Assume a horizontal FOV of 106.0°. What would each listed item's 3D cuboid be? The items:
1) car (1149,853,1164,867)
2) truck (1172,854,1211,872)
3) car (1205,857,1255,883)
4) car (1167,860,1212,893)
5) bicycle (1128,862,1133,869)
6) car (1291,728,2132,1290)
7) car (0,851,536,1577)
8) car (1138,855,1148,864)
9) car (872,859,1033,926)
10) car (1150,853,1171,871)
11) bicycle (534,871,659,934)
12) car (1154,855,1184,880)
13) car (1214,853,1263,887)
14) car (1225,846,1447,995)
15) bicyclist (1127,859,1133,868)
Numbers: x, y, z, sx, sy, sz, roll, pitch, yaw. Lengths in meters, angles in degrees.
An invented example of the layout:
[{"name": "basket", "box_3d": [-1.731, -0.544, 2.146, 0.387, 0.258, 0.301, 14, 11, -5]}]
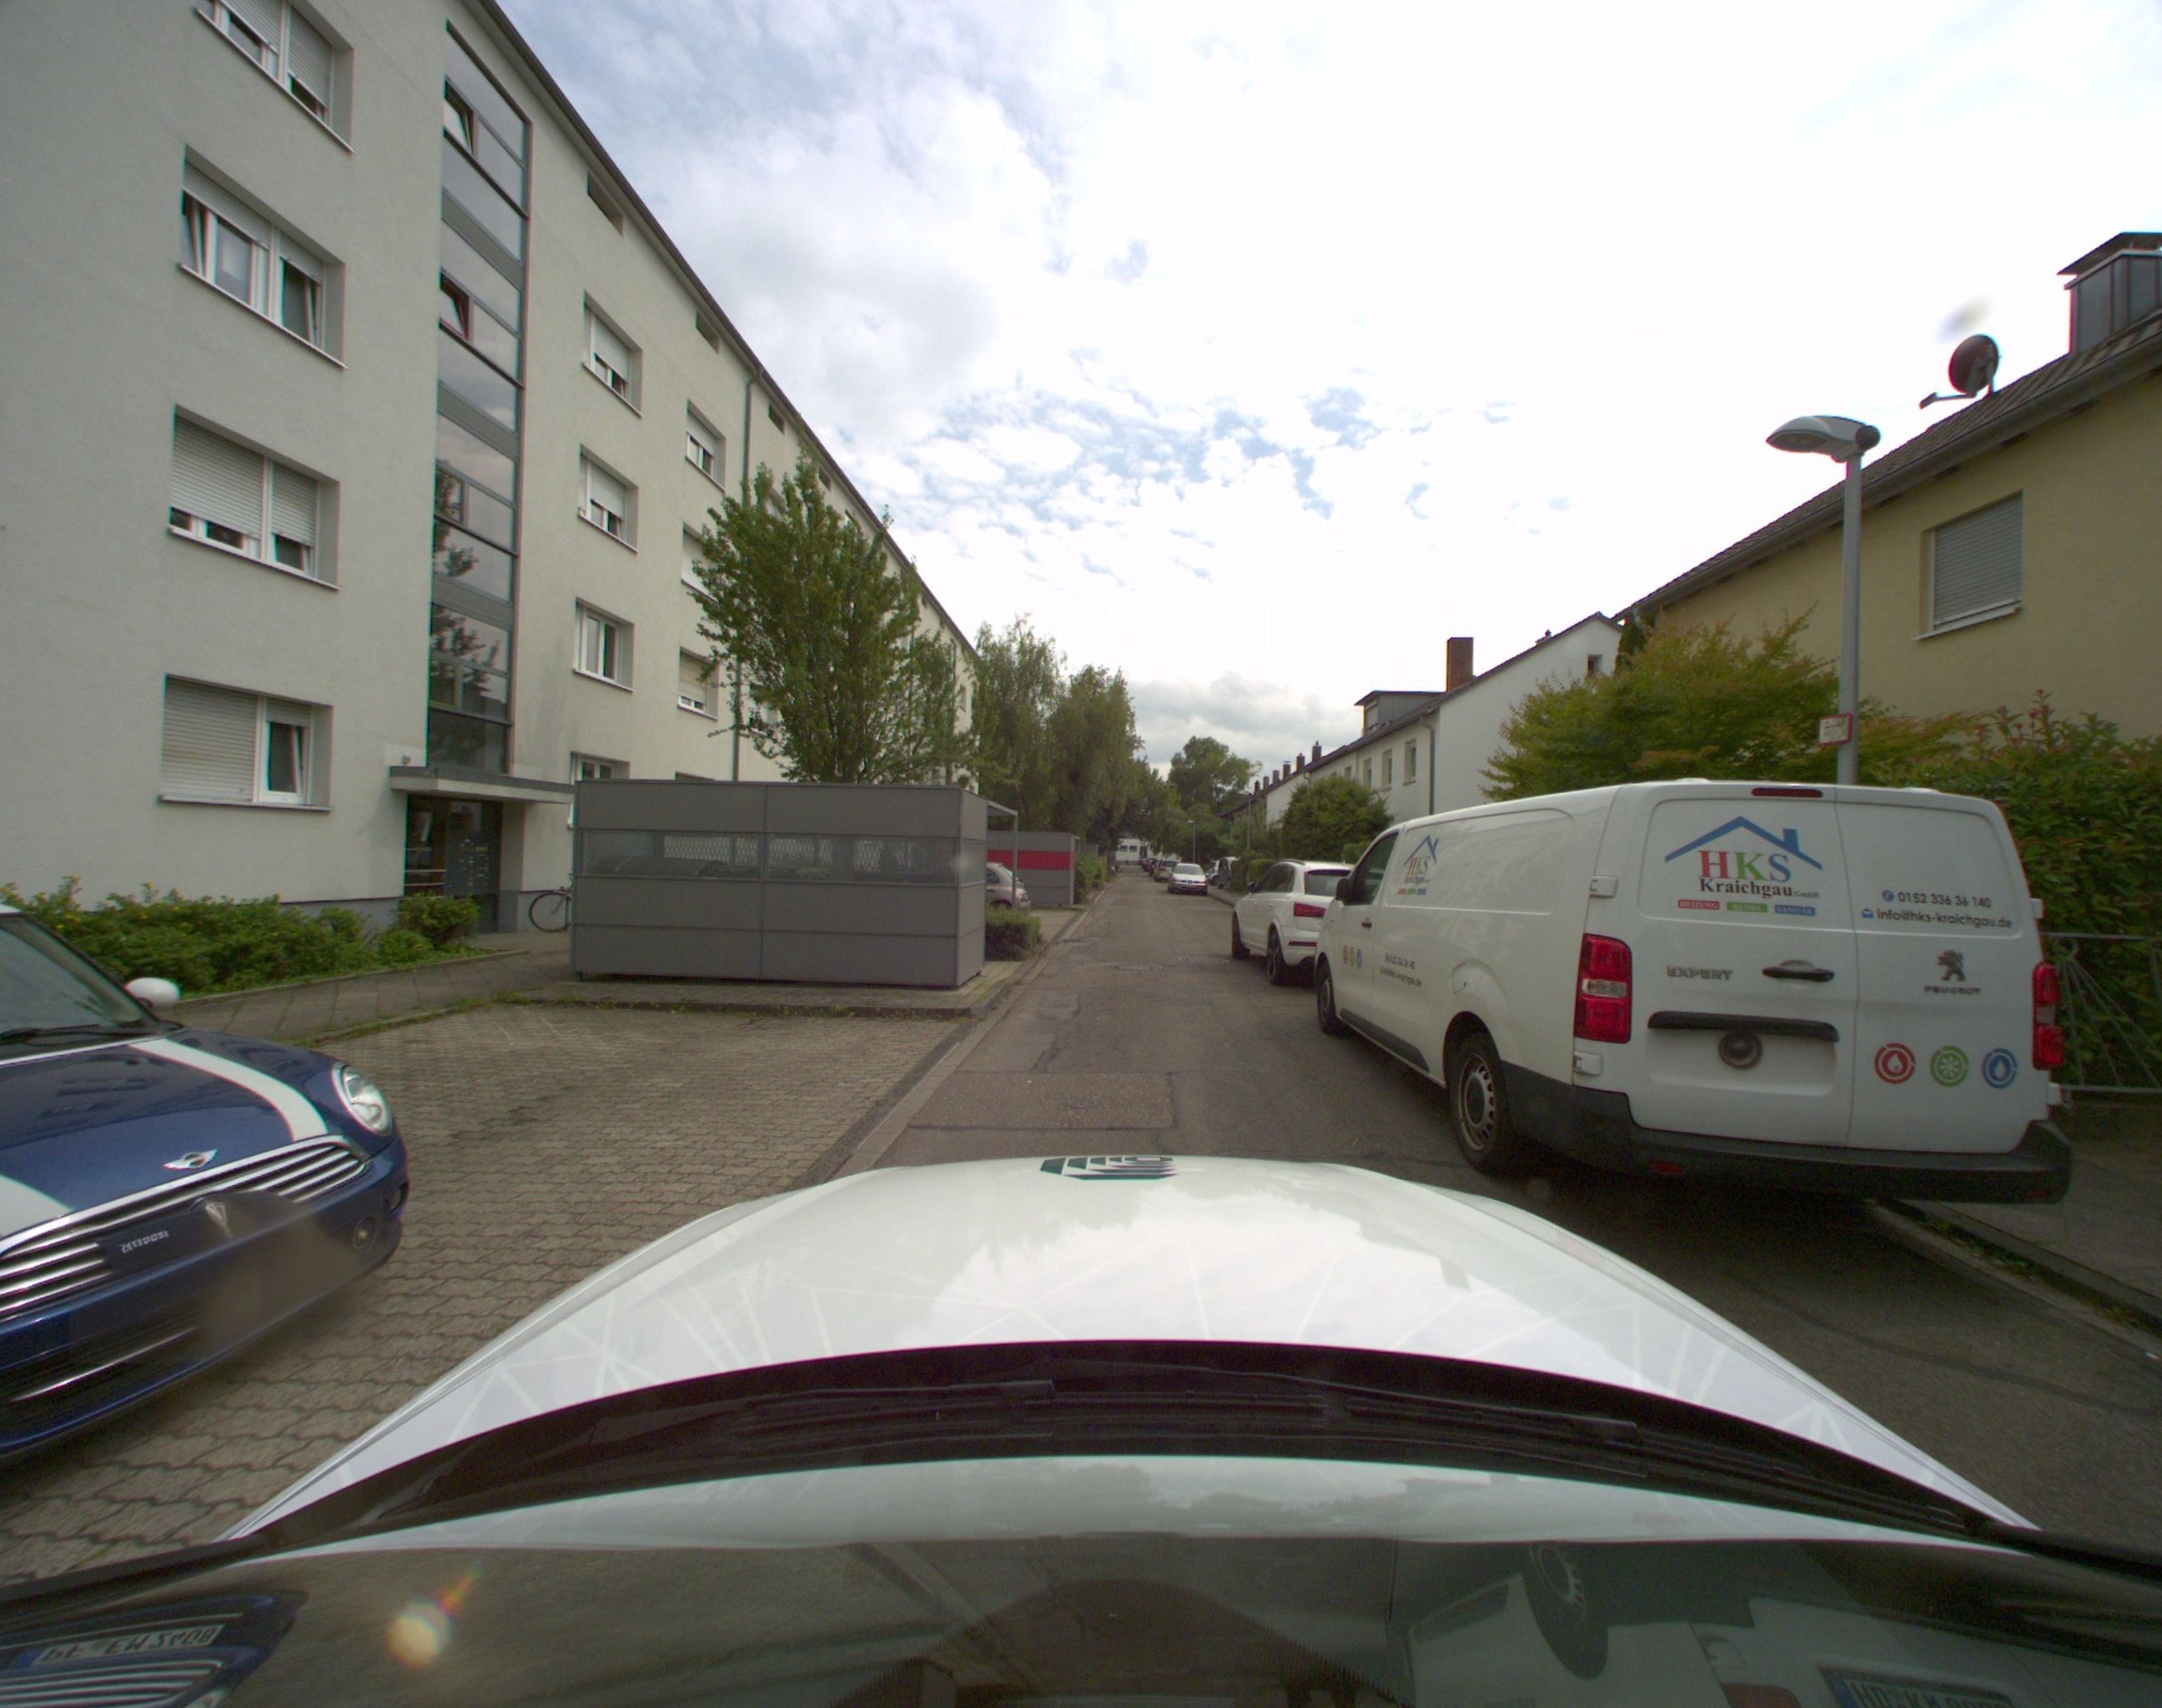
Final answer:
[{"name": "car", "box_3d": [9.468, 0.765, 102.557, 1.817, 1.581, 4.005, 3, 0, 4]}, {"name": "truck", "box_3d": [12.924, 1.012, 95.541, 4.372, 2.014, 2.001, -1, -1, 2]}, {"name": "car", "box_3d": [9.288, 0.985, 50.963, 2.806, 1.569, 1.741, -1, 0, 1]}, {"name": "car", "box_3d": [5.090, 1.015, 38.818, 1.817, 1.370, 4.336, 3, 0, 4]}, {"name": "bicycle", "box_3d": [8.608, 1.986, 142.127, 0.685, 1.131, 2.583, 3, 0, 6]}, {"name": "car", "box_3d": [2.976, 0.564, 5.611, 1.896, 1.964, 5.258, 2, 0, 3]}, {"name": "car", "box_3d": [-3.954, 0.726, 2.409, 3.616, 1.461, 1.656, 1, 0, 7]}, {"name": "car", "box_3d": [11.868, 0.984, 155.088, 1.817, 1.581, 4.005, 3, 0, 4]}, {"name": "car", "box_3d": [-2.962, 0.876, 19.304, 3.551, 1.480, 1.710, 0, 0, -1]}, {"name": "car", "box_3d": [7.561, 0.751, 77.560, 1.817, 1.581, 4.197, 3, 0, 4]}, {"name": "bicycle", "box_3d": [-8.425, 0.820, 14.214, 1.819, 1.026, 0.474, 1, 0, -38]}, {"name": "car", "box_3d": [6.158, 0.932, 57.403, 1.818, 1.581, 4.002, 3, 0, 2]}, {"name": "car", "box_3d": [8.714, 0.876, 45.381, 1.819, 1.777, 4.340, -1, -1, 0]}, {"name": "car", "box_3d": [3.289, 0.764, 11.415, 1.818, 1.635, 4.162, 2, 0, 1]}, {"name": "bicyclist", "box_3d": [8.556, 1.659, 142.203, 0.794, 1.511, 0.935, 3, 0, 6]}]
